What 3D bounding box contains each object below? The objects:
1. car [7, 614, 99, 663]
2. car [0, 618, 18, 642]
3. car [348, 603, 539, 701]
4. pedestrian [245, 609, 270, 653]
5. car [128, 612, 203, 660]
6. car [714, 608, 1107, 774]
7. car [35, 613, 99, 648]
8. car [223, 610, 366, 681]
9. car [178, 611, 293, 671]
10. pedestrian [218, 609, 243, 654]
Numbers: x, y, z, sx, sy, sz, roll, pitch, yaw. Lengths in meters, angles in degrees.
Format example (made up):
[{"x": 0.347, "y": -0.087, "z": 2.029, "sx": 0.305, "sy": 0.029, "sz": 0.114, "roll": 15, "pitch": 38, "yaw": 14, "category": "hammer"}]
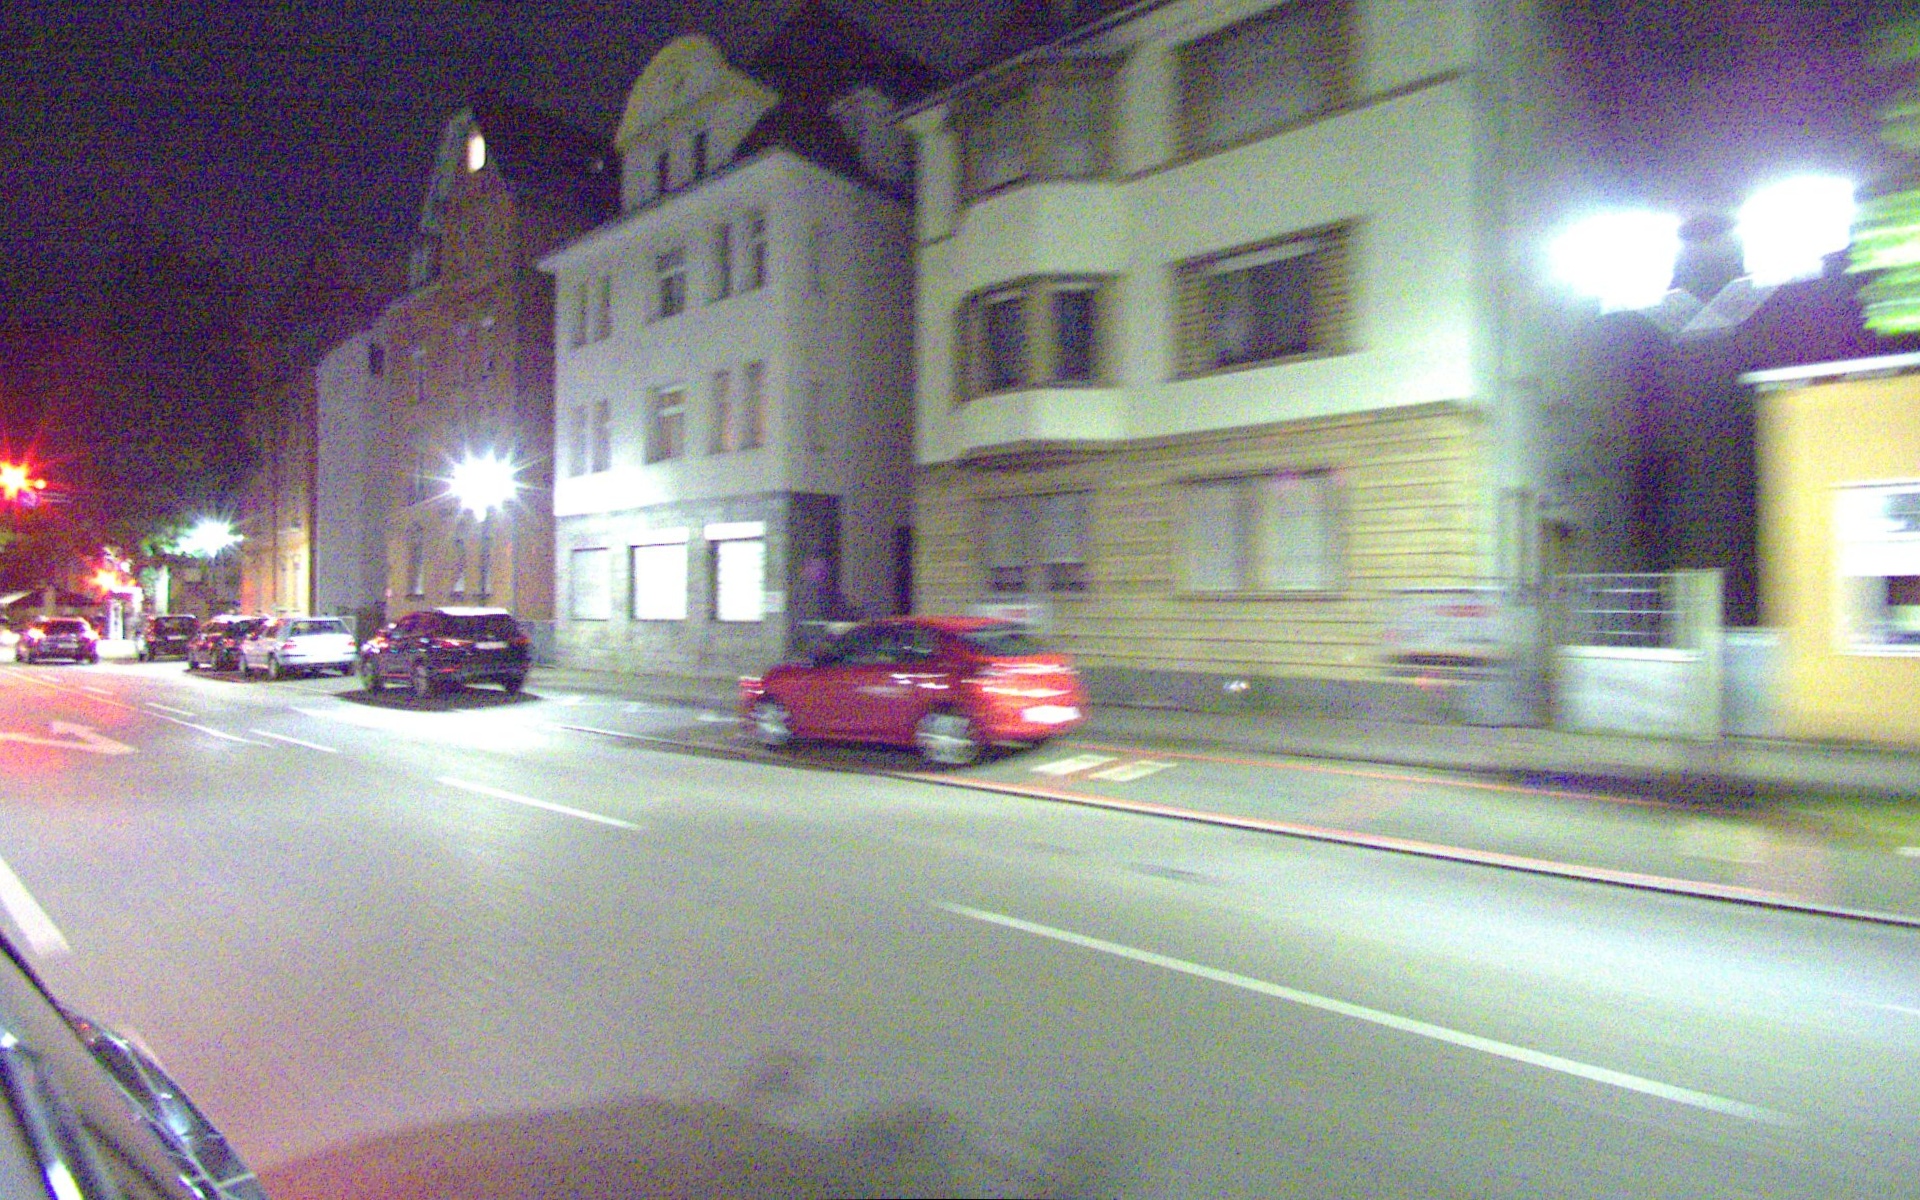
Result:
[{"x": -28.711, "y": 1.215, "z": 32.003, "sx": 3.998, "sy": 1.440, "sz": 1.697, "roll": -1, "pitch": -3, "yaw": 42, "category": "car"}, {"x": -58.940, "y": 1.823, "z": 61.613, "sx": 4.441, "sy": 1.444, "sz": 1.841, "roll": -1, "pitch": 0, "yaw": 41, "category": "car"}, {"x": -9.914, "y": 0.919, "z": 19.261, "sx": 4.410, "sy": 1.593, "sz": 1.765, "roll": -1, "pitch": 1, "yaw": 42, "category": "car"}, {"x": -27.806, "y": 1.222, "z": 40.064, "sx": 0.700, "sy": 1.703, "sz": 0.999, "roll": 1, "pitch": -2, "yaw": -39, "category": "pedestrian"}, {"x": -27.191, "y": 1.203, "z": 34.604, "sx": 1.574, "sy": 1.502, "sz": 3.702, "roll": -3, "pitch": 1, "yaw": -44, "category": "car"}, {"x": -0.657, "y": 0.843, "z": 10.942, "sx": 4.122, "sy": 1.426, "sz": 1.767, "roll": -1, "pitch": 0, "yaw": 40, "category": "car"}, {"x": -43.071, "y": 1.436, "z": 48.786, "sx": 4.023, "sy": 1.608, "sz": 1.866, "roll": -1, "pitch": 0, "yaw": 43, "category": "car"}, {"x": -16.165, "y": 1.060, "z": 24.533, "sx": 3.996, "sy": 1.502, "sz": 1.767, "roll": -1, "pitch": 1, "yaw": 40, "category": "car"}, {"x": -20.408, "y": 1.105, "z": 28.427, "sx": 4.329, "sy": 1.502, "sz": 1.765, "roll": -1, "pitch": 1, "yaw": 43, "category": "car"}, {"x": -28.386, "y": 1.218, "z": 39.387, "sx": 0.700, "sy": 1.703, "sz": 1.126, "roll": 1, "pitch": -2, "yaw": -39, "category": "pedestrian"}]
